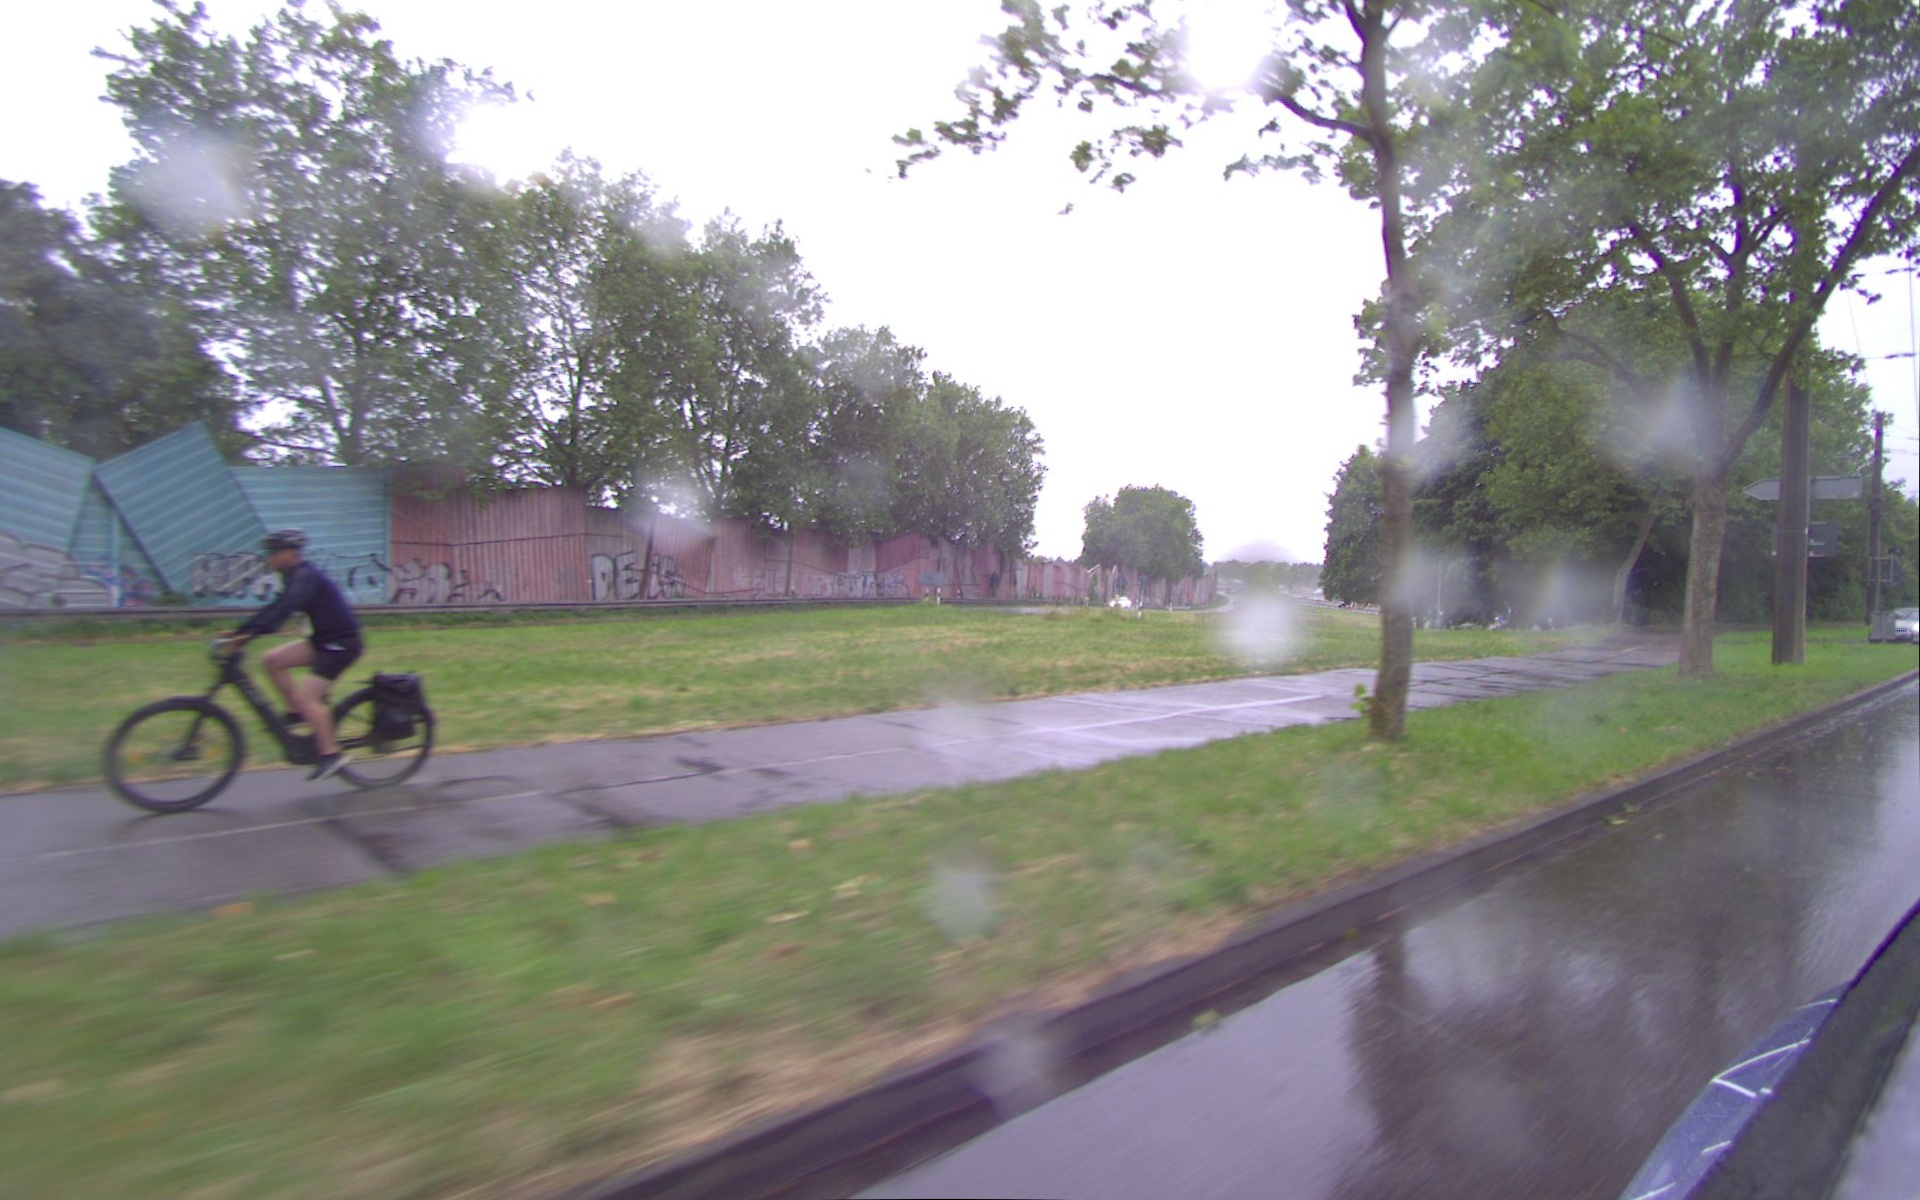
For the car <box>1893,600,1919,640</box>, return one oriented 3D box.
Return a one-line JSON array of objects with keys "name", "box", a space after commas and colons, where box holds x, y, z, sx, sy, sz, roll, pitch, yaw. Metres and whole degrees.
[{"name": "car", "box": [36.821, 0.761, 38.222, 3.928, 1.437, 1.751, 0, 3, -40]}]
